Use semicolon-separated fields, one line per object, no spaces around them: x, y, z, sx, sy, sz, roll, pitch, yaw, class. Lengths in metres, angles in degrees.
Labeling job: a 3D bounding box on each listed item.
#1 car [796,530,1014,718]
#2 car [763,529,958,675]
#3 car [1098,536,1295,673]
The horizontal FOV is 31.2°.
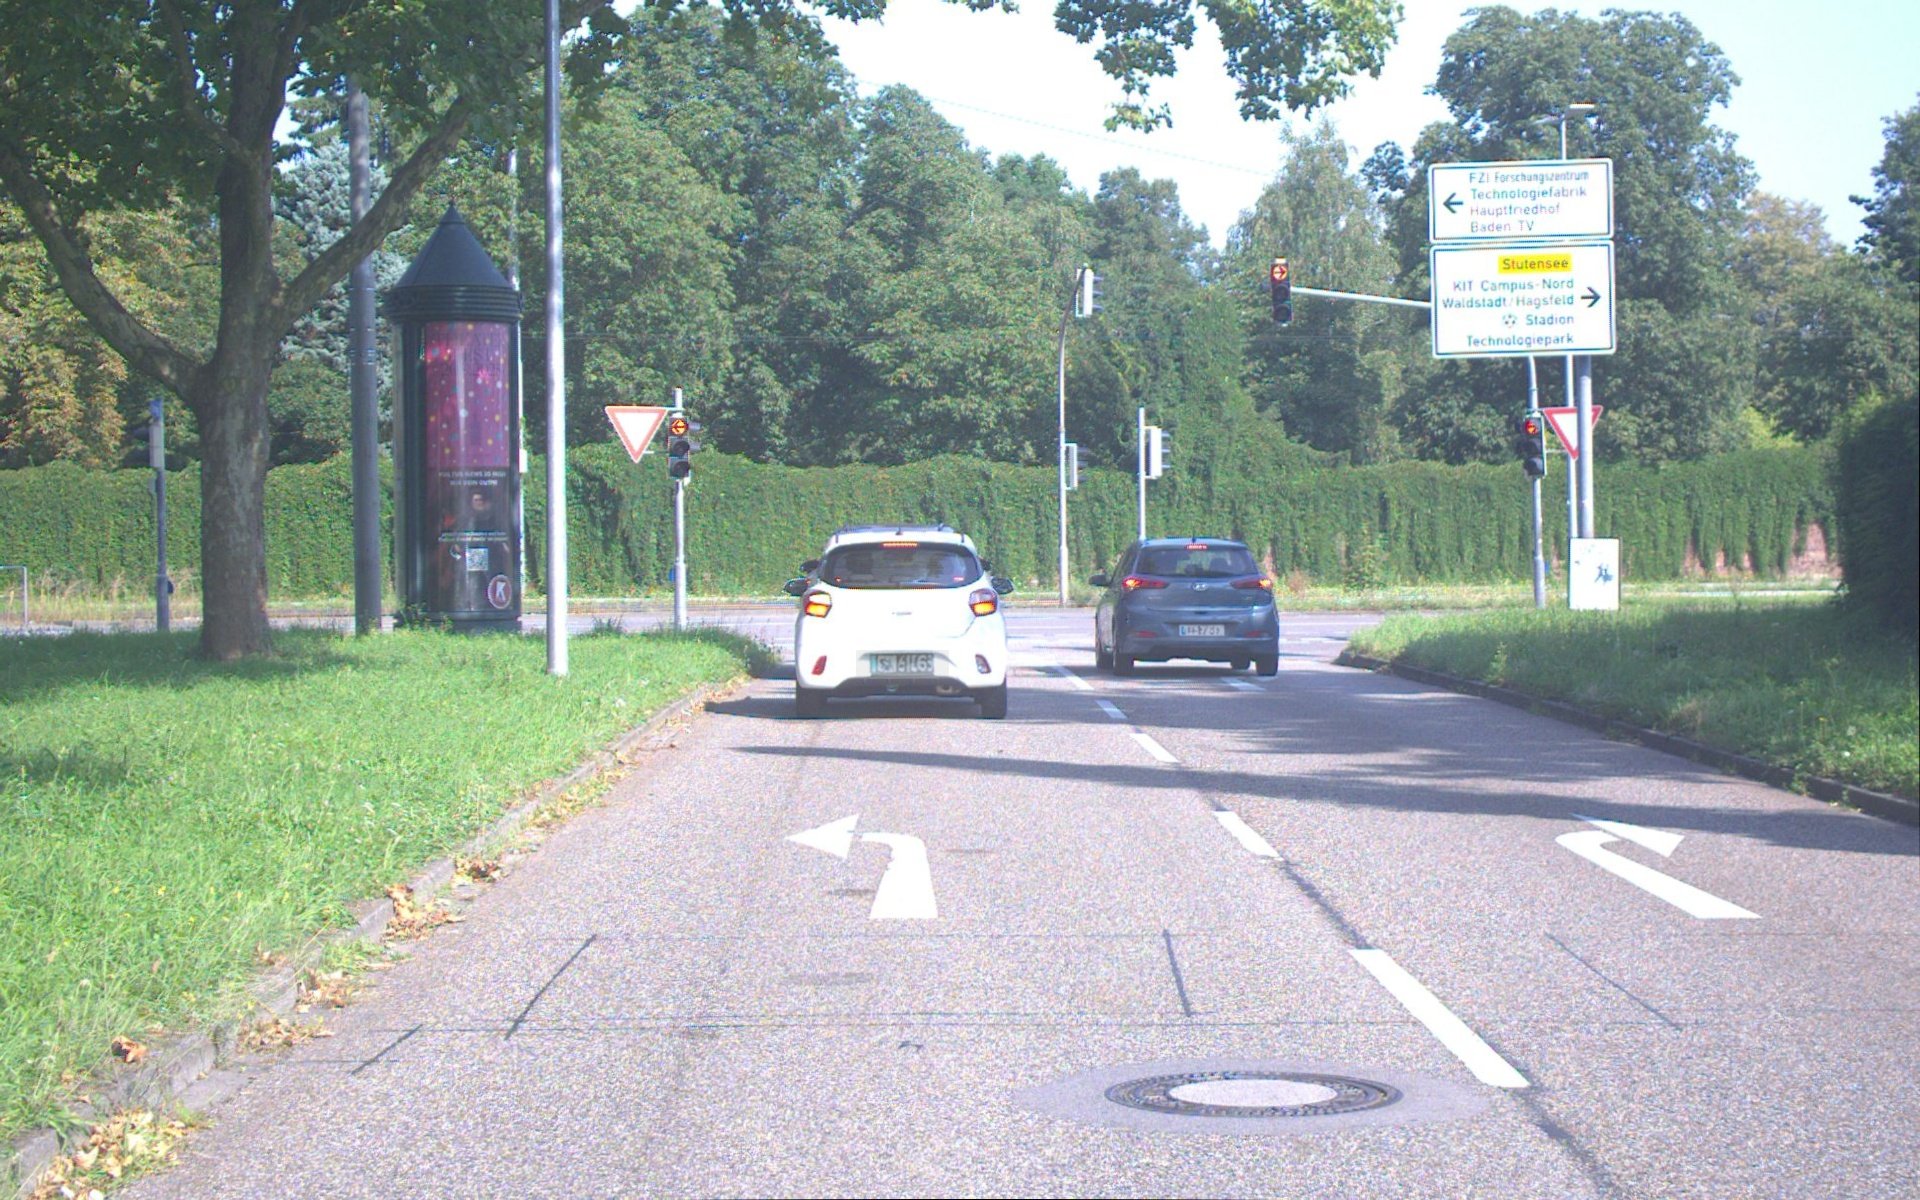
-0.404;0.145;28.653;1.687;1.457;4.000;0;1;1;car
-0.999;-0.020;36.231;1.687;1.457;3.849;0;1;4;car
2.506;0.006;37.240;1.797;1.396;4.000;0;1;-1;car
